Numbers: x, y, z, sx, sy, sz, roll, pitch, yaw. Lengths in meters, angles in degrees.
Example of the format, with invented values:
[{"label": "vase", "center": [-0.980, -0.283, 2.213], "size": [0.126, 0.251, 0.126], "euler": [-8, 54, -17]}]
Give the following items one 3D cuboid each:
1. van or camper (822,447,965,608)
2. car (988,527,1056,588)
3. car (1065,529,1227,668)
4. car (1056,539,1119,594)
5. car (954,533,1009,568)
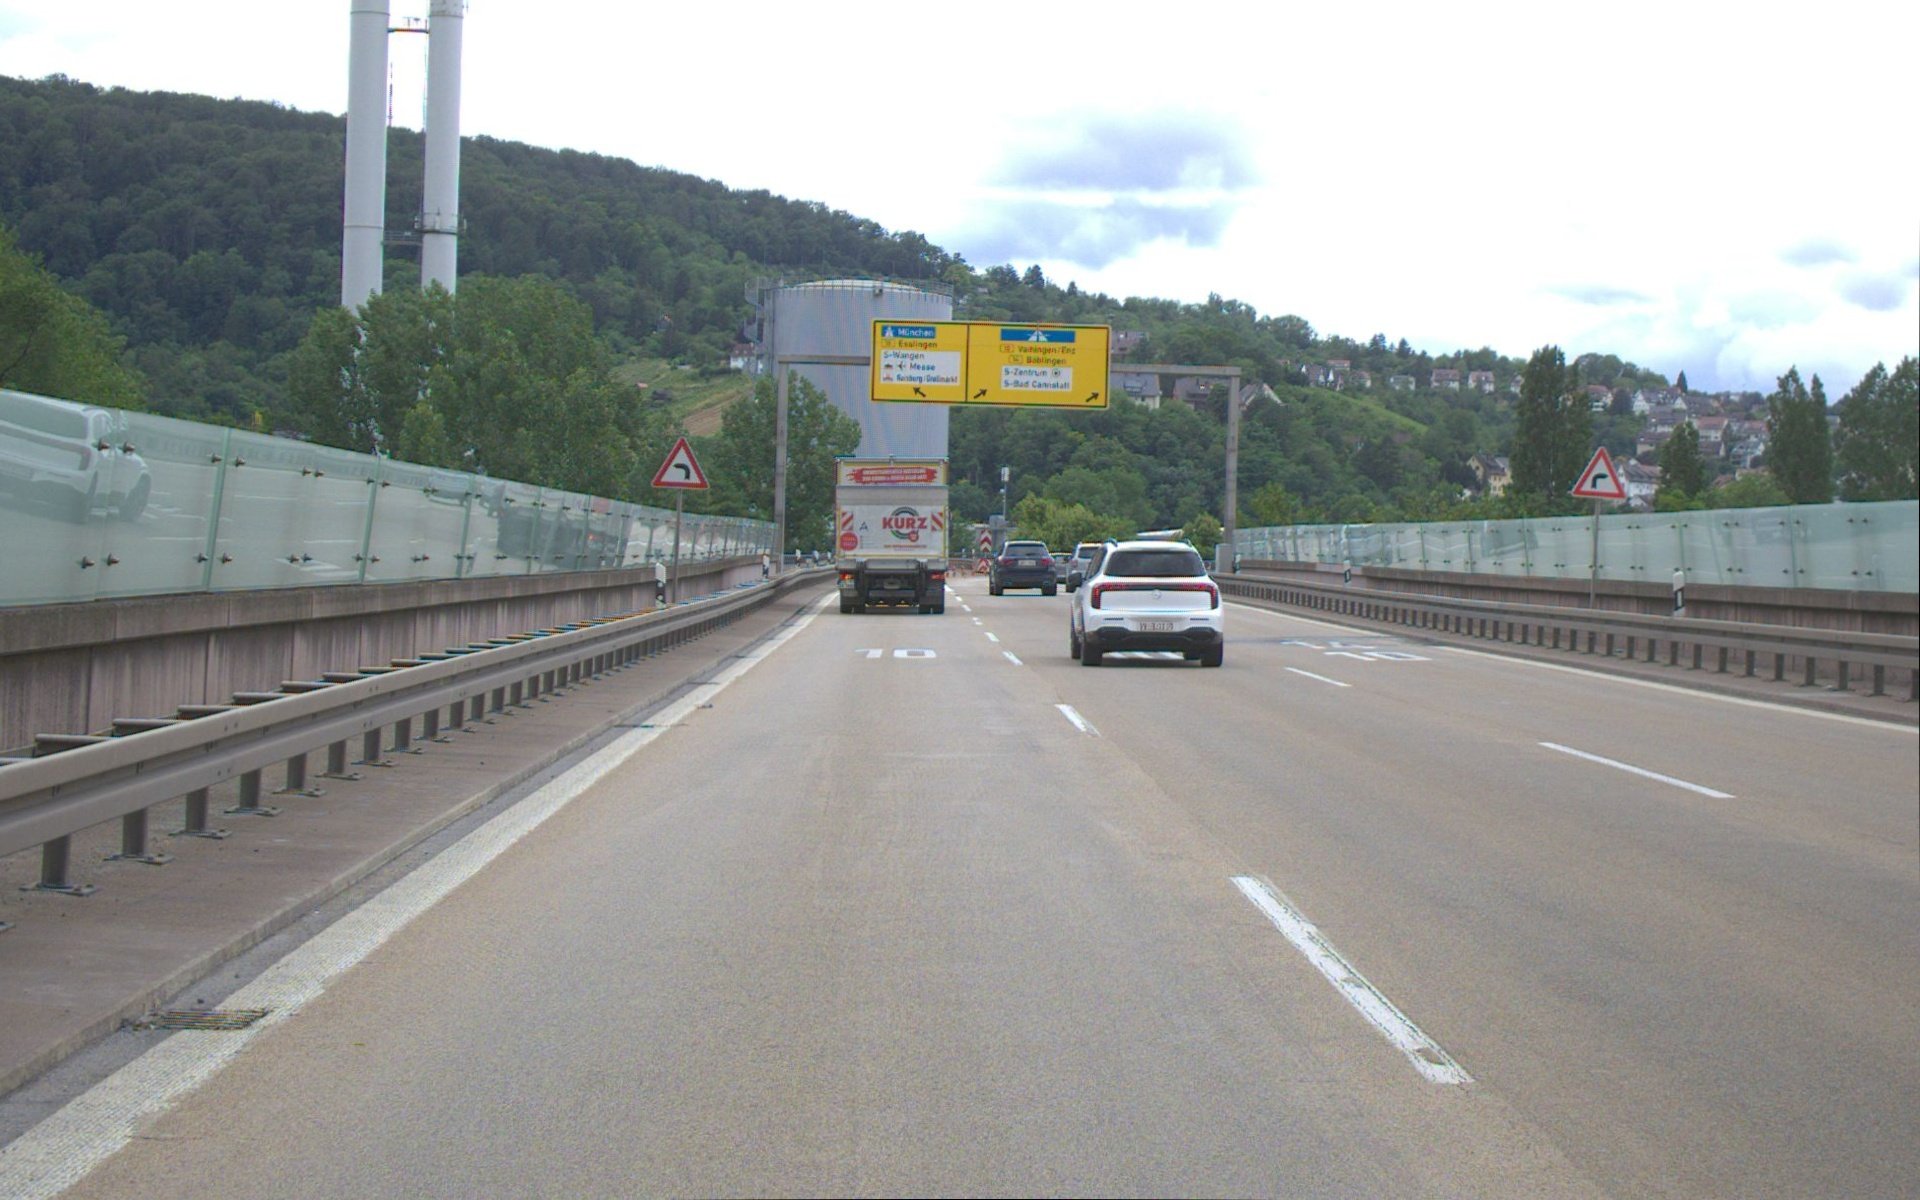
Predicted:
[{"label": "van or camper", "center": [-1.476, -1.671, 80.797], "size": [3.122, 3.567, 8.550], "euler": [1, 1, 0]}, {"label": "car", "center": [1.843, -1.301, 103.771], "size": [1.924, 1.779, 4.113], "euler": [1, 1, 0]}, {"label": "car", "center": [2.477, -0.062, 46.632], "size": [1.924, 1.779, 4.113], "euler": [1, 1, 0]}, {"label": "car", "center": [4.309, -1.155, 116.747], "size": [1.924, 1.779, 4.113], "euler": [1, 1, 0]}, {"label": "car", "center": [1.259, -2.836, 197.273], "size": [2.474, 1.973, 5.159], "euler": [1, 1, 8]}]
